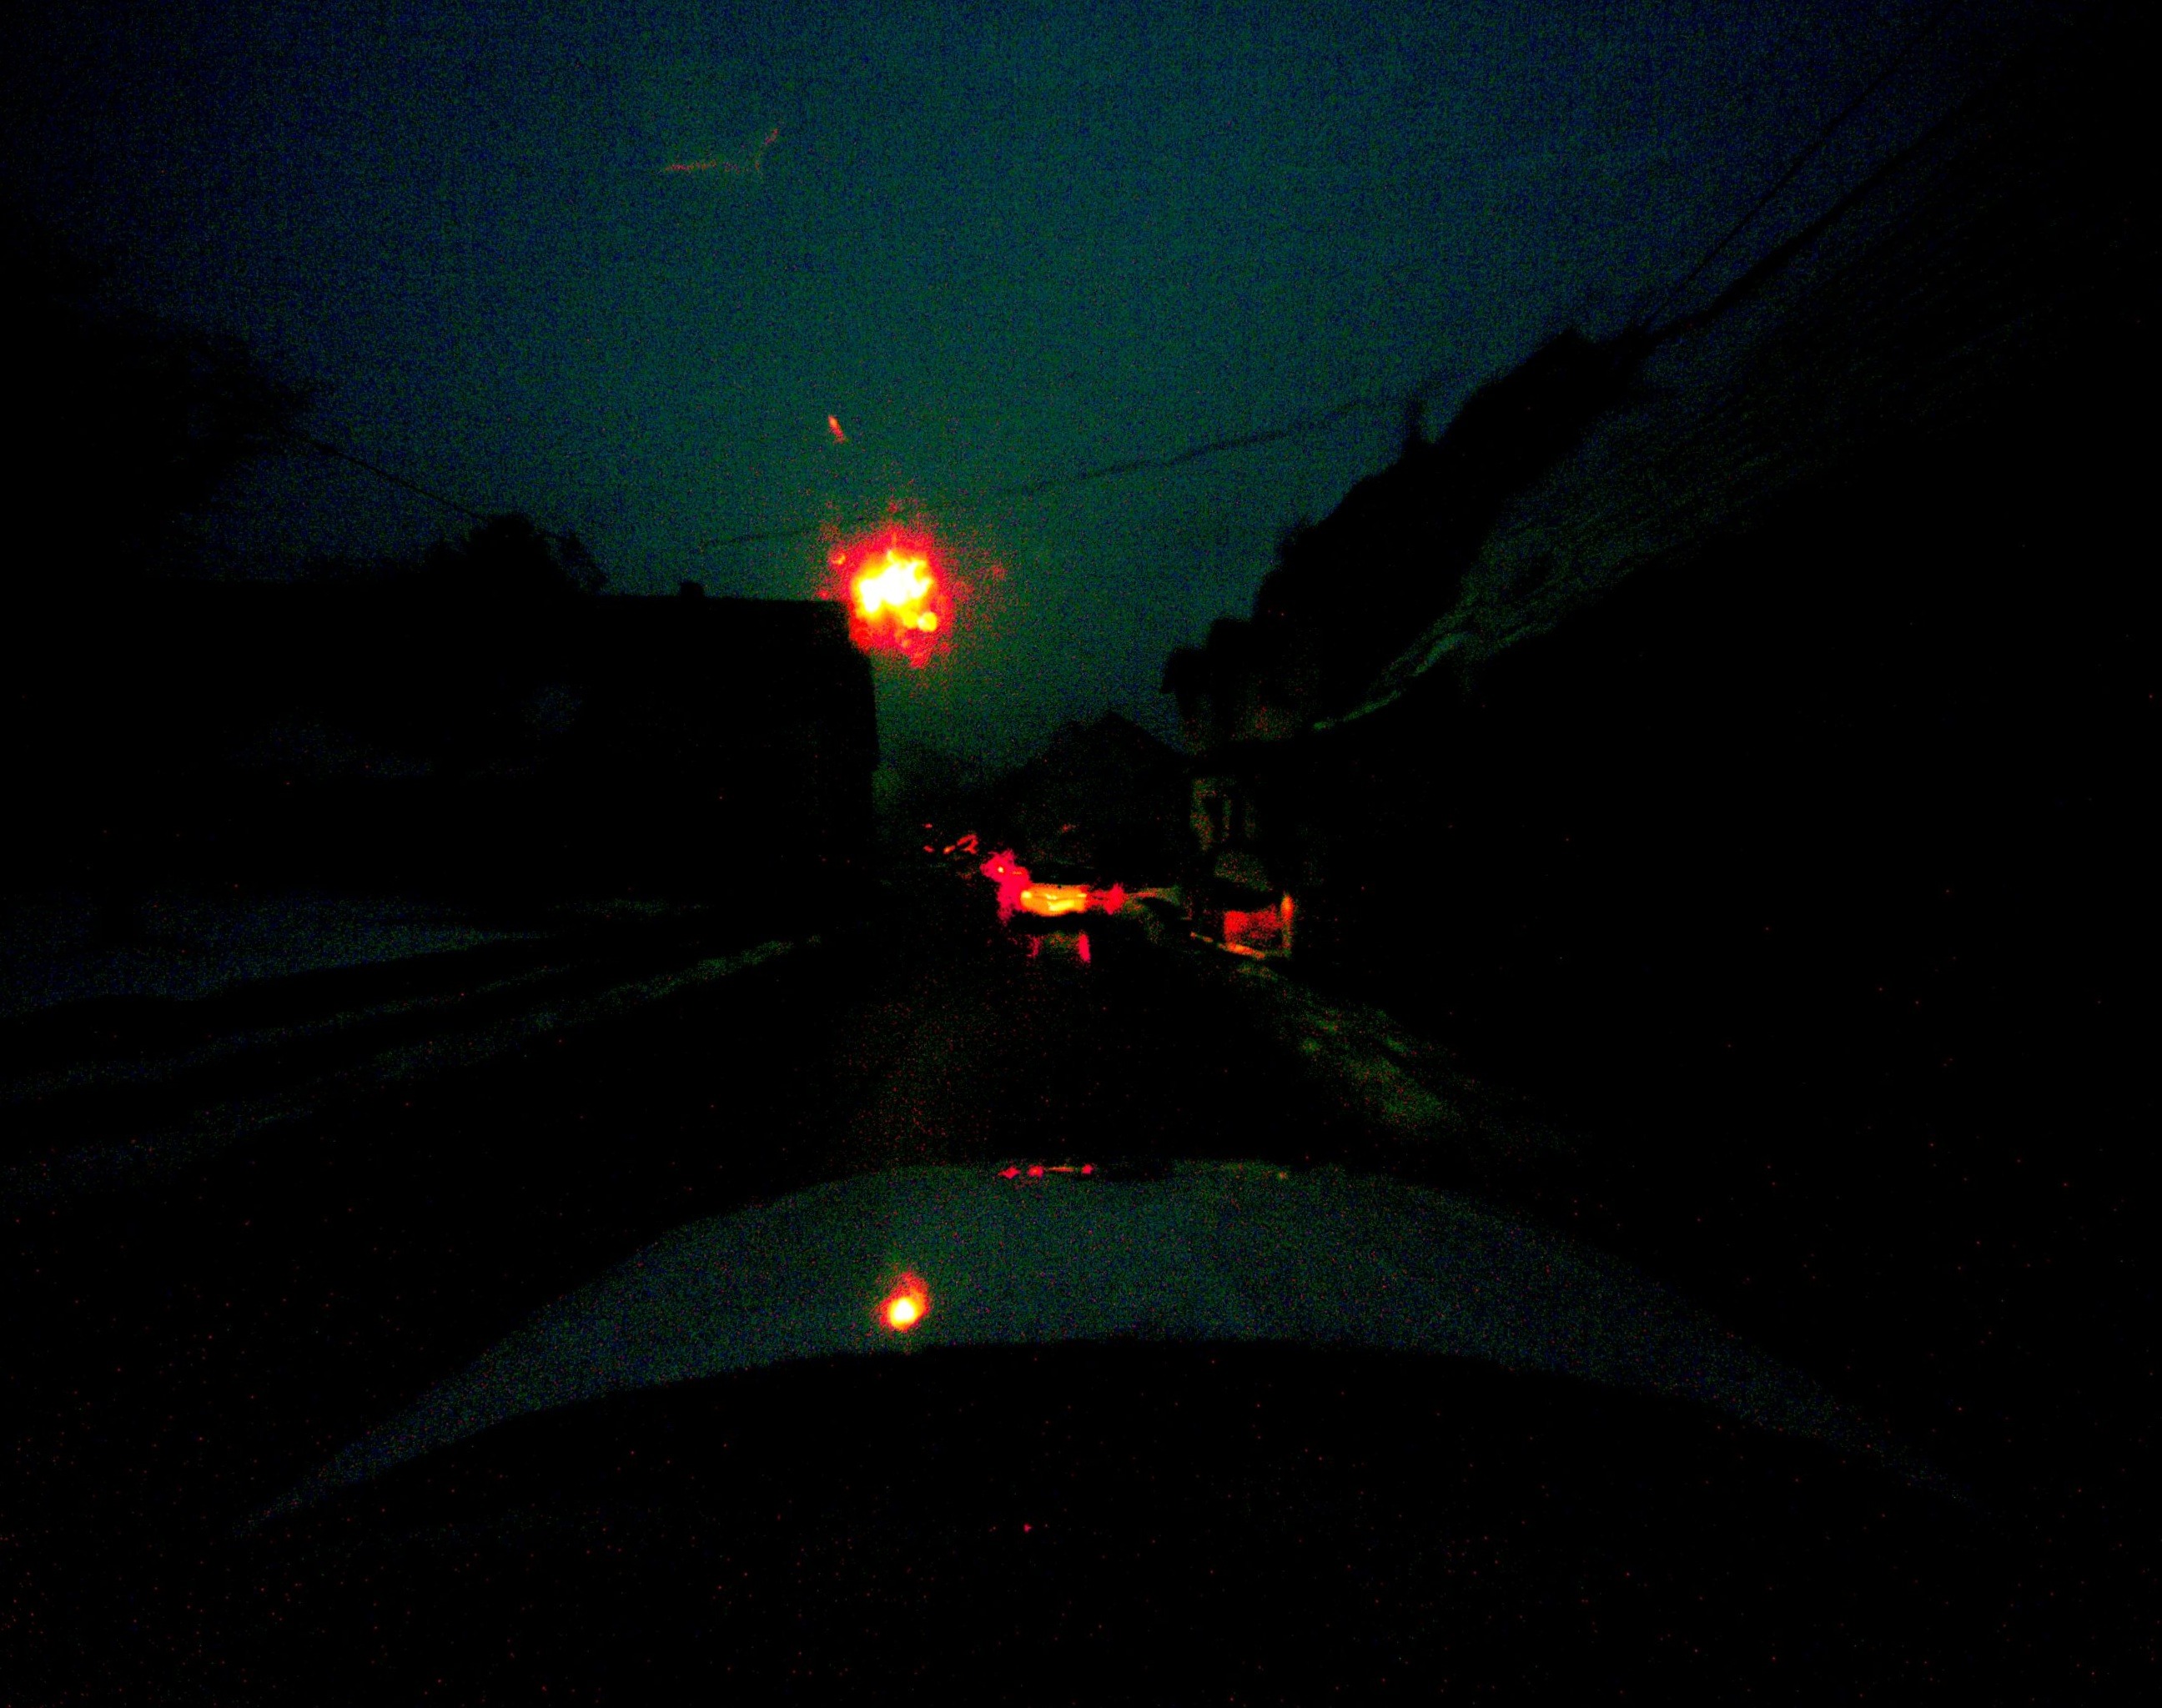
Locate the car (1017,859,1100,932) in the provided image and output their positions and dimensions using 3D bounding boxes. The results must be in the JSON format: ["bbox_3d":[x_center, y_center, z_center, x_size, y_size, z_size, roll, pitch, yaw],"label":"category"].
[{"bbox_3d":[-0.635,0.970,19.795,1.644,1.596,3.689,0,-2,-8],"label":"car"}]

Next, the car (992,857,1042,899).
[{"bbox_3d":[-2.657,0.976,33.123,1.646,1.596,3.684,0,-2,-11],"label":"car"}]
